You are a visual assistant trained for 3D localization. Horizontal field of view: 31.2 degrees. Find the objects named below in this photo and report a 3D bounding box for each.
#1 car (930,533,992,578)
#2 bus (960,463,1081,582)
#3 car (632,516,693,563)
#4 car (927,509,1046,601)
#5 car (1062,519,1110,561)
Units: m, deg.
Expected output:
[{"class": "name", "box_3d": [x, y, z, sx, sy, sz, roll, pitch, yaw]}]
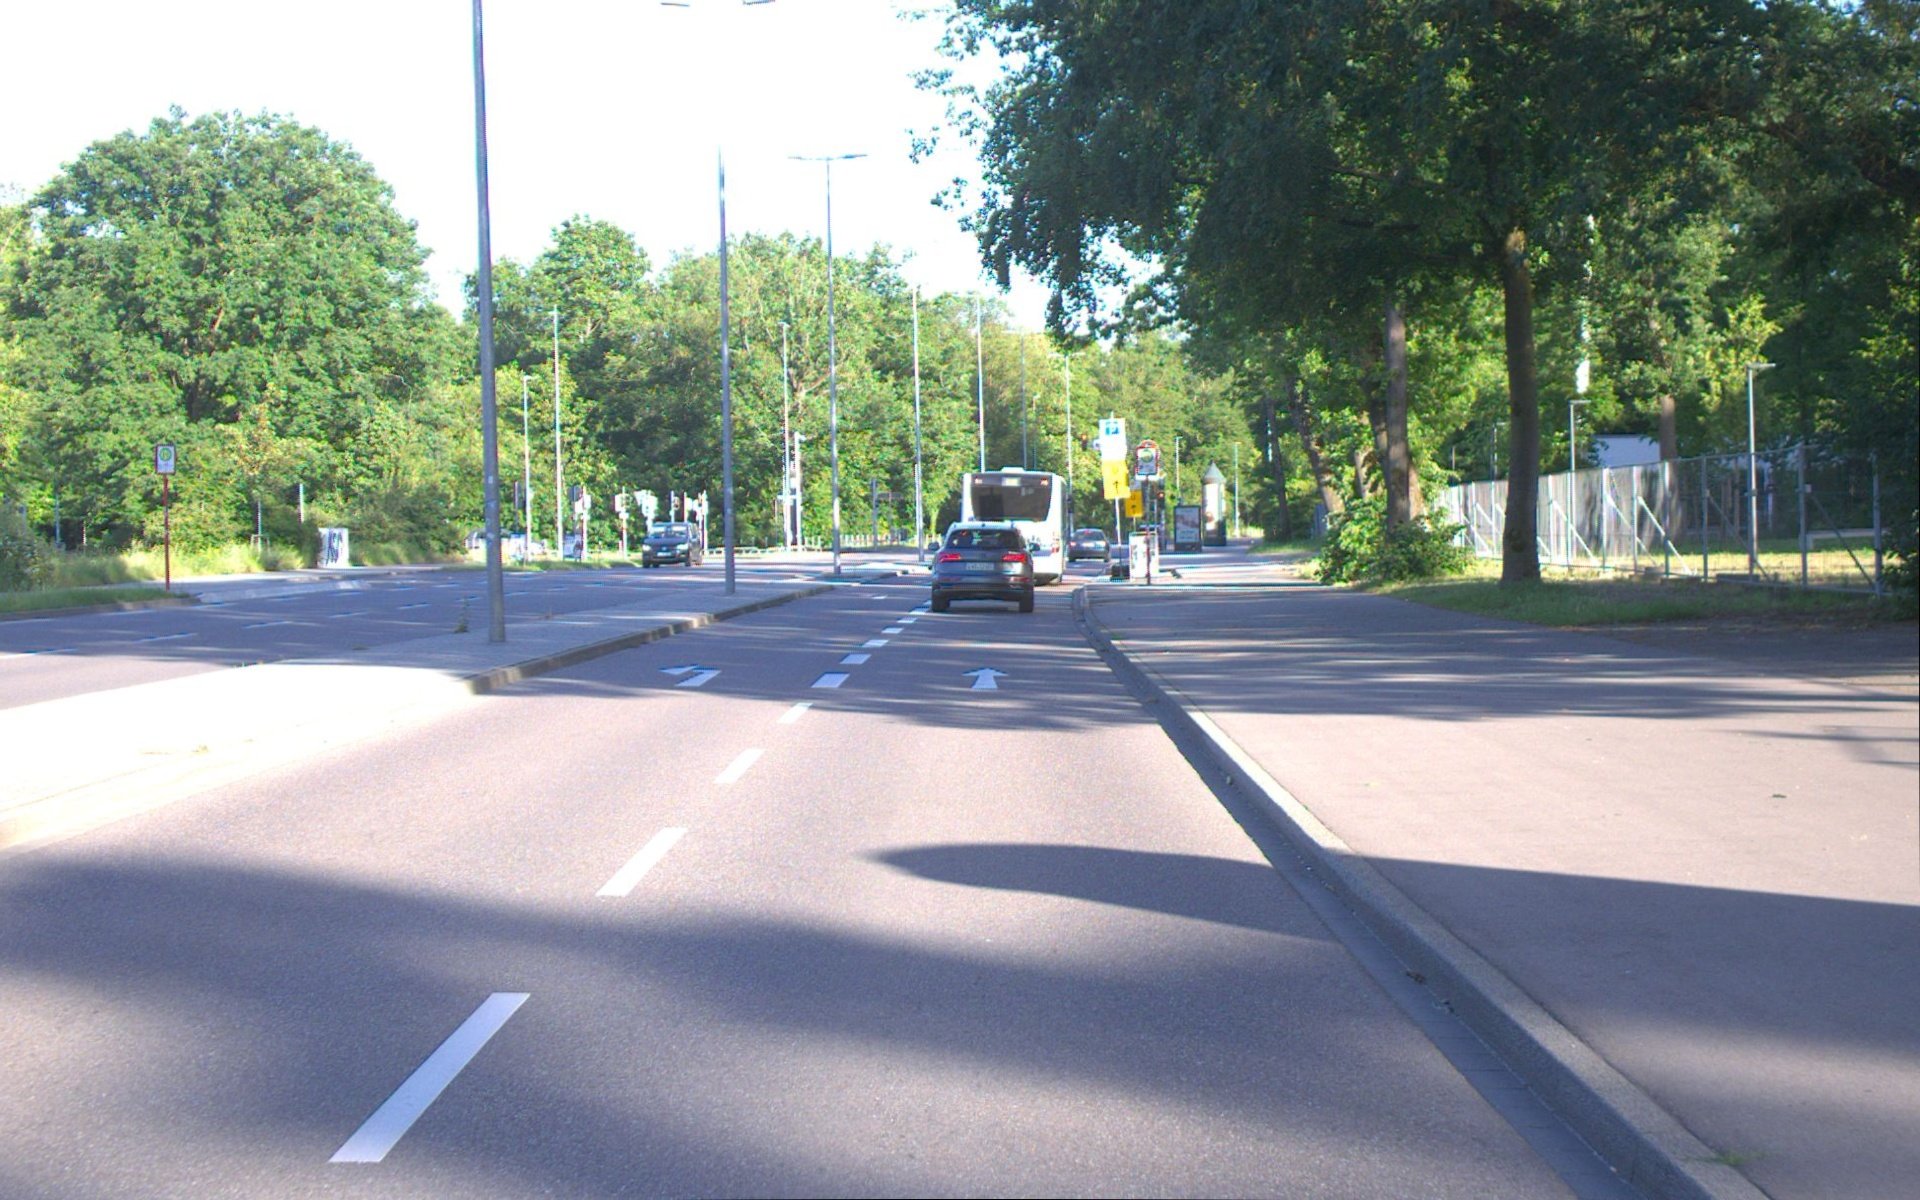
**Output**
[{"class": "car", "box_3d": [0.051, -1.547, 118.632, 1.836, 1.513, 4.000, 0, 1, 5]}, {"class": "bus", "box_3d": [1.678, -1.990, 91.190, 2.595, 2.978, 9.325, 1, 1, 5]}, {"class": "car", "box_3d": [-11.137, -2.296, 128.914, 1.783, 1.686, 4.702, 1, 1, 1]}, {"class": "car", "box_3d": [0.528, -0.844, 63.952, 1.899, 1.626, 4.000, 1, 1, 5]}, {"class": "car", "box_3d": [5.351, -2.541, 145.839, 1.910, 1.722, 4.579, 1, 1, 3]}]
